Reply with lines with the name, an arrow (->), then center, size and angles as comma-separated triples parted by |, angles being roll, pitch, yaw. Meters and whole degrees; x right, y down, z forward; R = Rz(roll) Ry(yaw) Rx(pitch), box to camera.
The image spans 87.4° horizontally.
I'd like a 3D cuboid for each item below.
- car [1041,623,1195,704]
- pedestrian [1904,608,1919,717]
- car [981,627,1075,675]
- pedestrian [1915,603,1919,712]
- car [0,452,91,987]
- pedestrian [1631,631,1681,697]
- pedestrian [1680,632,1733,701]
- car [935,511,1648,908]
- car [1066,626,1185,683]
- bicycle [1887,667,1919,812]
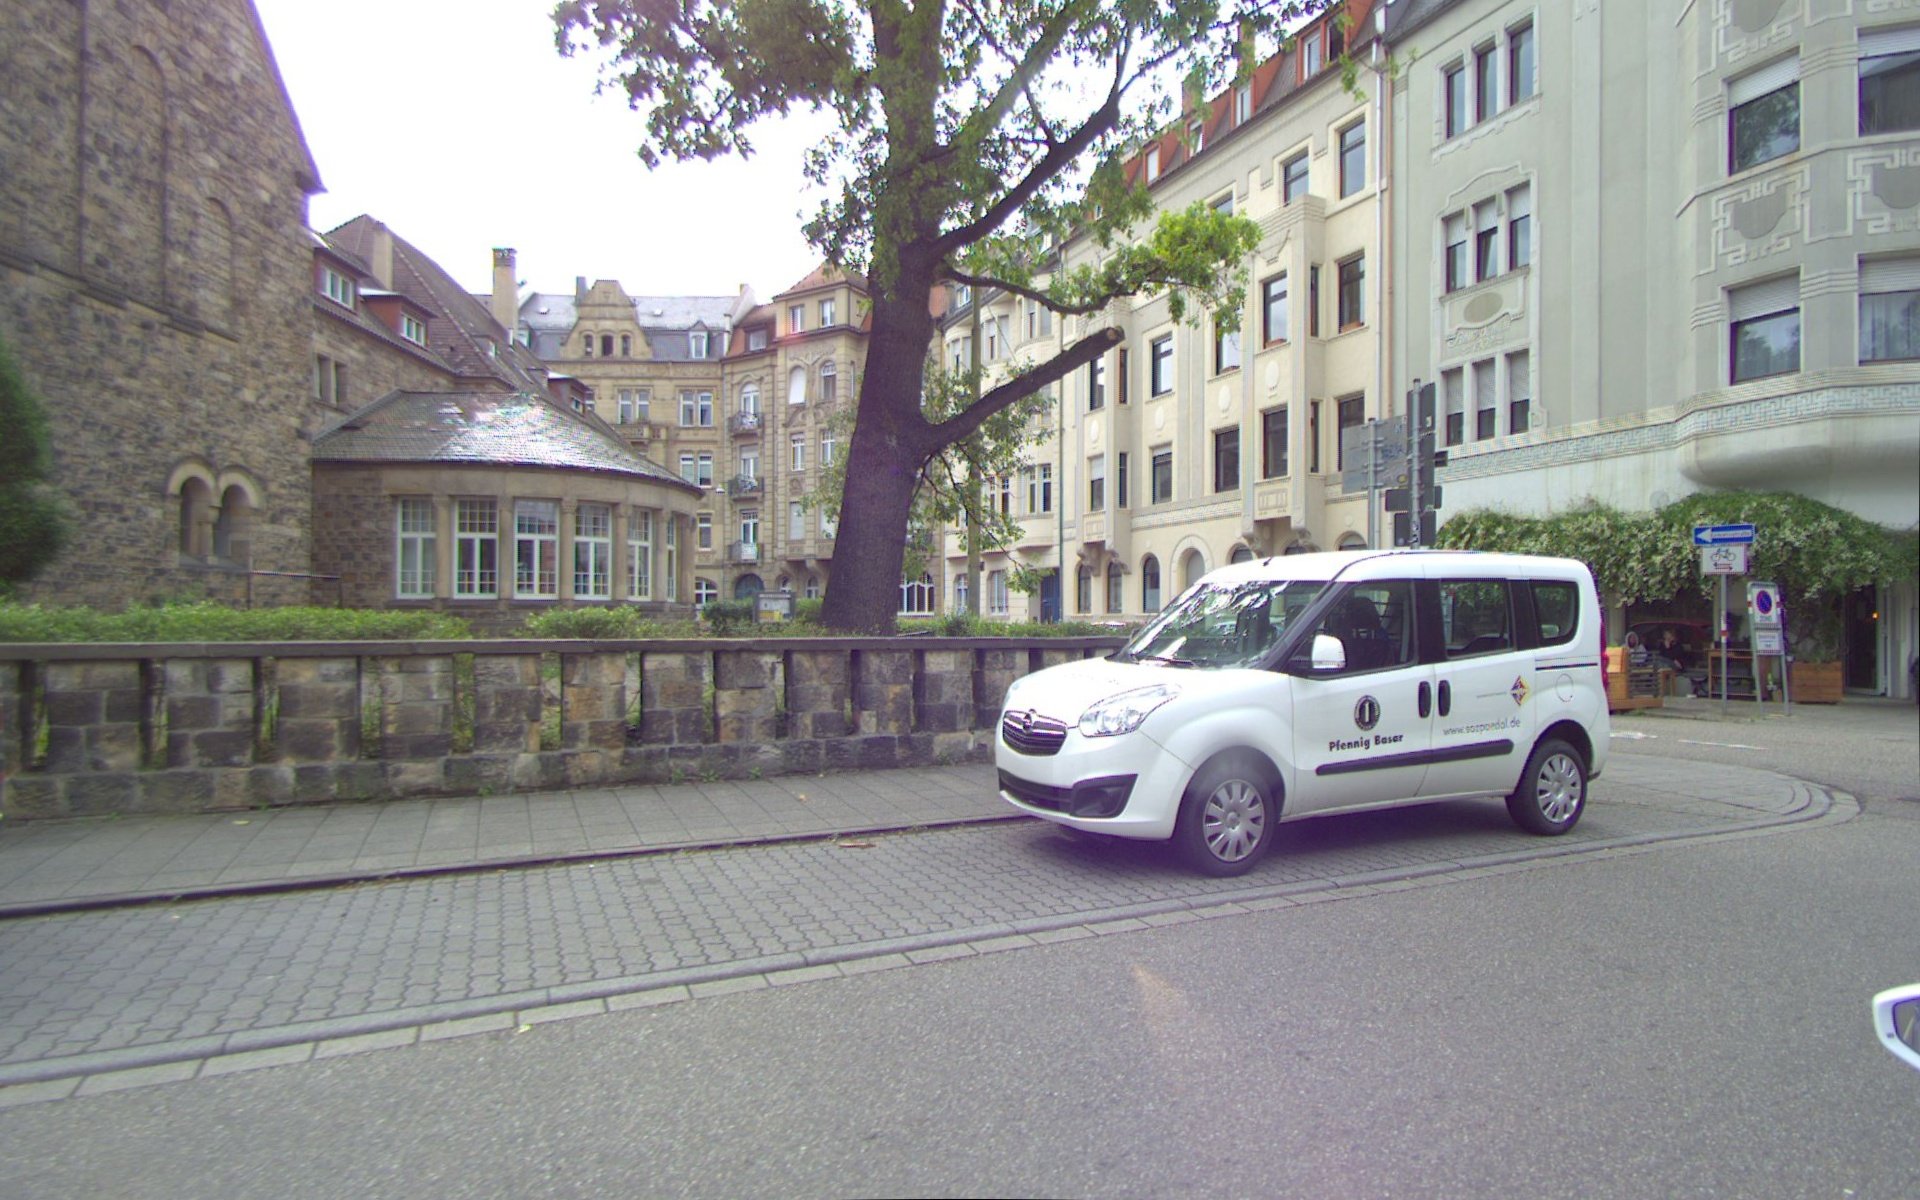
car -> 3.161, 1.239, 20.652 | 1.452, 1.502, 3.341 | 2, -2, -27
pedestrian -> 15.016, 0.962, 15.395 | 0.565, 1.682, 0.580 | 1, -1, -4
car -> 2.419, 1.838, 36.684 | 1.677, 1.577, 3.805 | -2, -1, -27
pedestrian -> 15.610, 0.919, 15.917 | 0.570, 1.757, 0.505 | 1, -1, 29
car -> -5.925, 0.438, 2.639 | 5.114, 2.040, 2.007 | 0, -1, -26
pedestrian -> 13.182, 1.194, 19.024 | 0.547, 1.213, 0.576 | 0, 0, -25
pedestrian -> 13.543, 1.199, 18.233 | 0.547, 1.213, 0.576 | 0, 0, -25
car -> 2.239, 0.564, 6.728 | 4.484, 1.965, 1.839 | 0, -1, -24
car -> 5.048, 1.650, 31.060 | 1.677, 1.577, 3.805 | -2, -1, -27
bicycle -> 8.335, 1.088, 8.078 | 1.959, 1.102, 0.566 | 0, -1, -24
